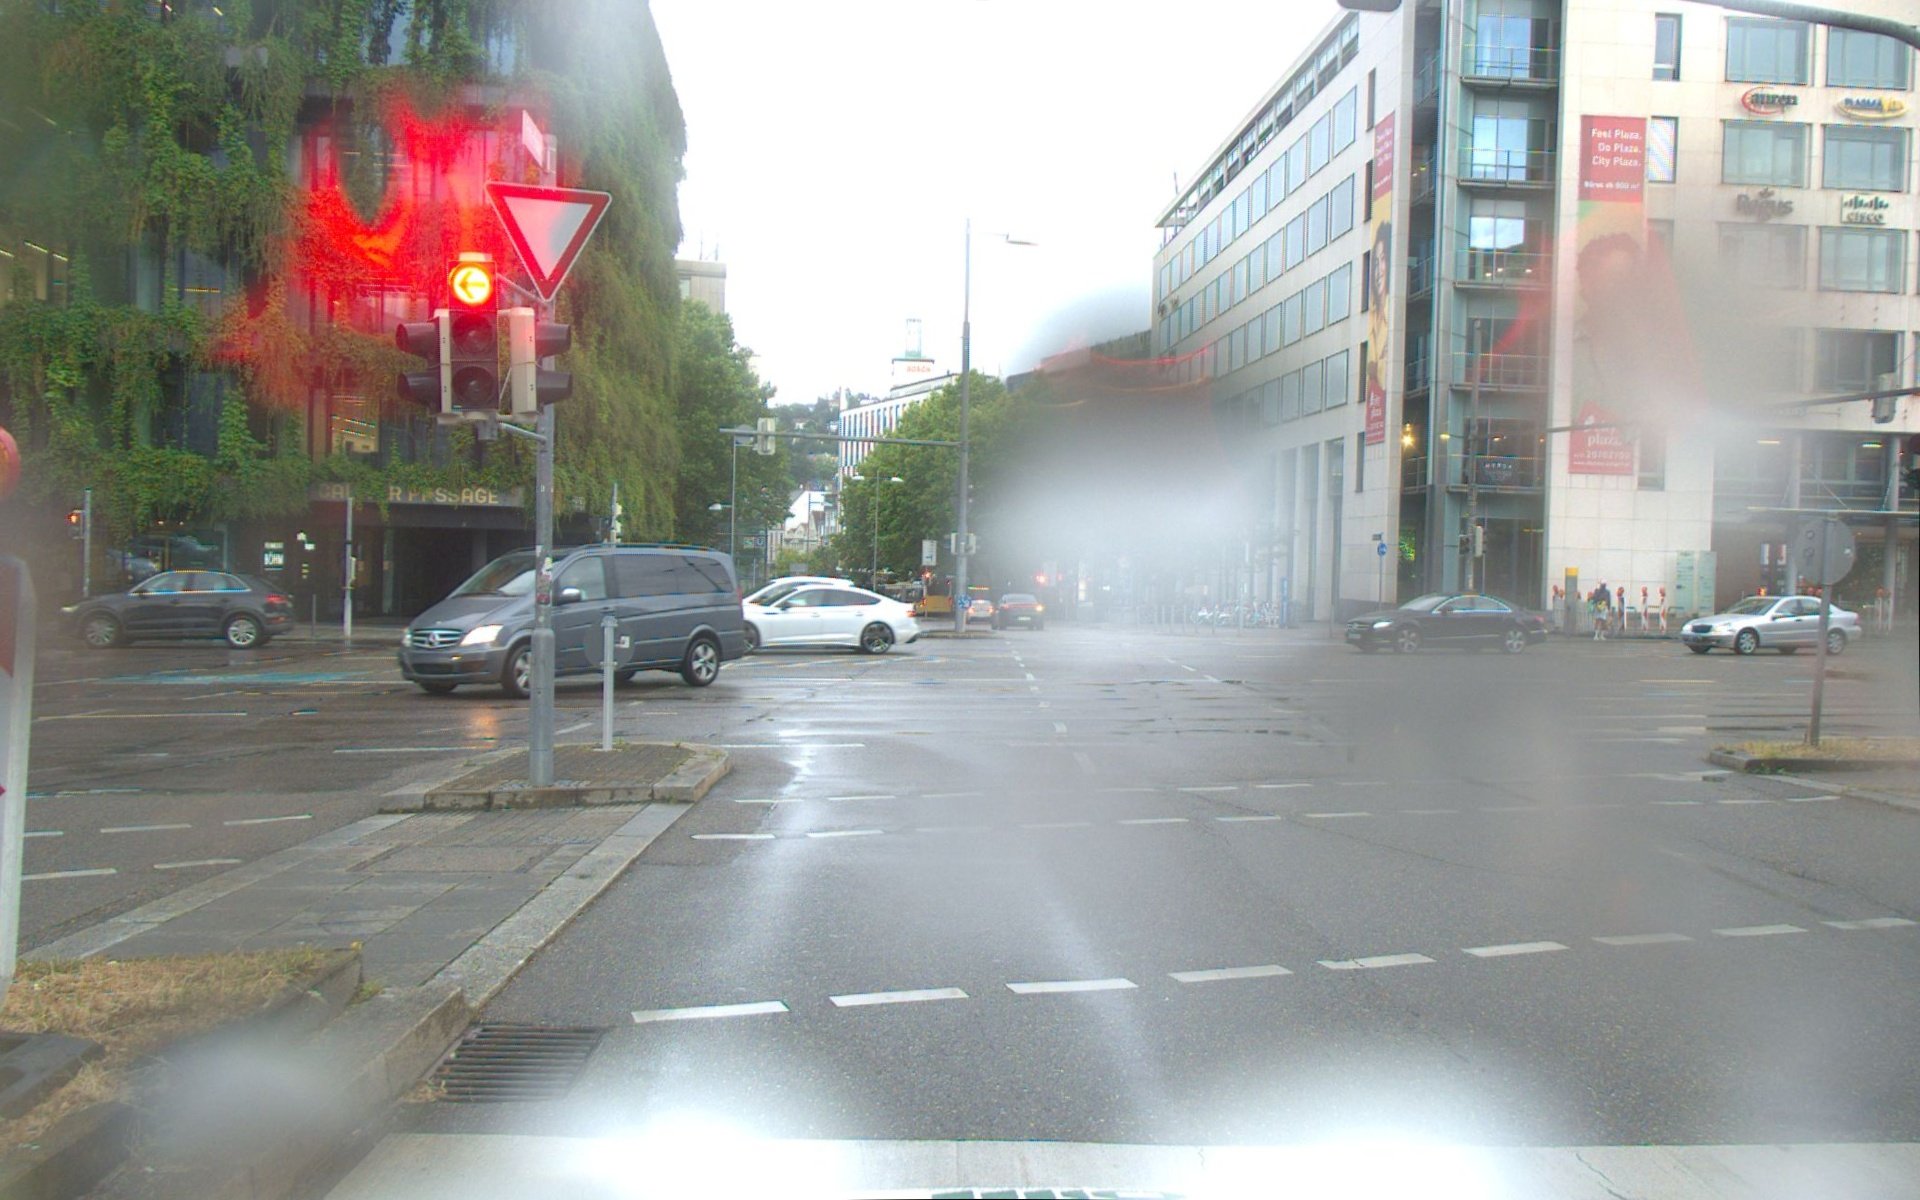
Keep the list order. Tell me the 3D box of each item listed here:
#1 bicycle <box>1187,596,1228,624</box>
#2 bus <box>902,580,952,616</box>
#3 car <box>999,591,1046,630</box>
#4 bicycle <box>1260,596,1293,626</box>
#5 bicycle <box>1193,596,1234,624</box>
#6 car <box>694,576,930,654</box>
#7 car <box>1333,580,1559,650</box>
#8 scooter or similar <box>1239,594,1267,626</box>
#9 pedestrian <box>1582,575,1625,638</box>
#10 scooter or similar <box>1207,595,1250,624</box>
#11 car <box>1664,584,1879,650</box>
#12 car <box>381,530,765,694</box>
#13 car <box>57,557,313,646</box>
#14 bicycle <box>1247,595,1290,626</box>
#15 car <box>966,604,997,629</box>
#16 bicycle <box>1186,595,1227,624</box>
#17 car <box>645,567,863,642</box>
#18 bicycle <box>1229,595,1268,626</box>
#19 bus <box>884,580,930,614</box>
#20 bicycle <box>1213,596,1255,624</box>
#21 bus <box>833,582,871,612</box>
[{"bbox_3d":[11.009,0.427,73.568,1.741,1.215,0.586,1,-1,1],"label":"bicycle"},{"bbox_3d":[-2.970,-0.211,145.897,2.585,3.048,7.417,0,0,-16],"label":"bus"},{"bbox_3d":[2.606,0.438,69.445,1.745,1.534,3.999,1,0,-1],"label":"car"},{"bbox_3d":[12.863,0.459,67.140,0.575,1.215,1.776,1,-1,37],"label":"bicycle"},{"bbox_3d":[11.425,0.438,74.491,1.741,1.215,0.586,1,-1,1],"label":"bicycle"},{"bbox_3d":[-3.077,0.306,34.167,4.608,1.539,1.802,0,0,-17],"label":"car"},{"bbox_3d":[11.279,0.371,38.449,4.769,1.503,1.991,1,-2,-16],"label":"car"},{"bbox_3d":[11.389,0.394,64.324,0.946,1.215,0.453,1,-1,40],"label":"scooter or similar"},{"bbox_3d":[19.353,0.194,49.726,0.942,1.848,0.836,1,-1,-1],"label":"pedestrian"},{"bbox_3d":[11.551,0.426,71.150,1.741,1.215,0.586,1,-1,1],"label":"scooter or similar"},{"bbox_3d":[19.981,0.447,40.763,4.640,1.503,1.992,1,-2,-15],"label":"car"},{"bbox_3d":[-5.059,0.165,22.322,1.961,1.961,4.943,1,0,37],"label":"car"},{"bbox_3d":[-15.602,0.040,33.554,4.328,1.667,1.993,1,0,-14],"label":"car"},{"bbox_3d":[12.126,0.410,65.020,1.590,1.215,0.586,1,-1,25],"label":"bicycle"},{"bbox_3d":[1.324,1.025,103.252,1.745,1.534,3.999,1,0,-1],"label":"car"},{"bbox_3d":[10.866,0.422,72.931,1.741,1.215,0.586,1,-1,1],"label":"bicycle"},{"bbox_3d":[-4.602,0.113,36.897,4.608,1.539,1.802,1,0,-17],"label":"car"},{"bbox_3d":[11.588,0.407,66.564,0.578,1.215,1.766,1,0,-28],"label":"bicycle"},{"bbox_3d":[-4.966,-0.278,153.014,2.585,3.048,7.417,0,0,-16],"label":"bus"},{"bbox_3d":[11.896,0.435,71.778,1.741,1.215,0.586,1,-1,1],"label":"bicycle"},{"bbox_3d":[-11.344,-0.306,173.062,2.585,3.048,7.296,0,0,-16],"label":"bus"}]
